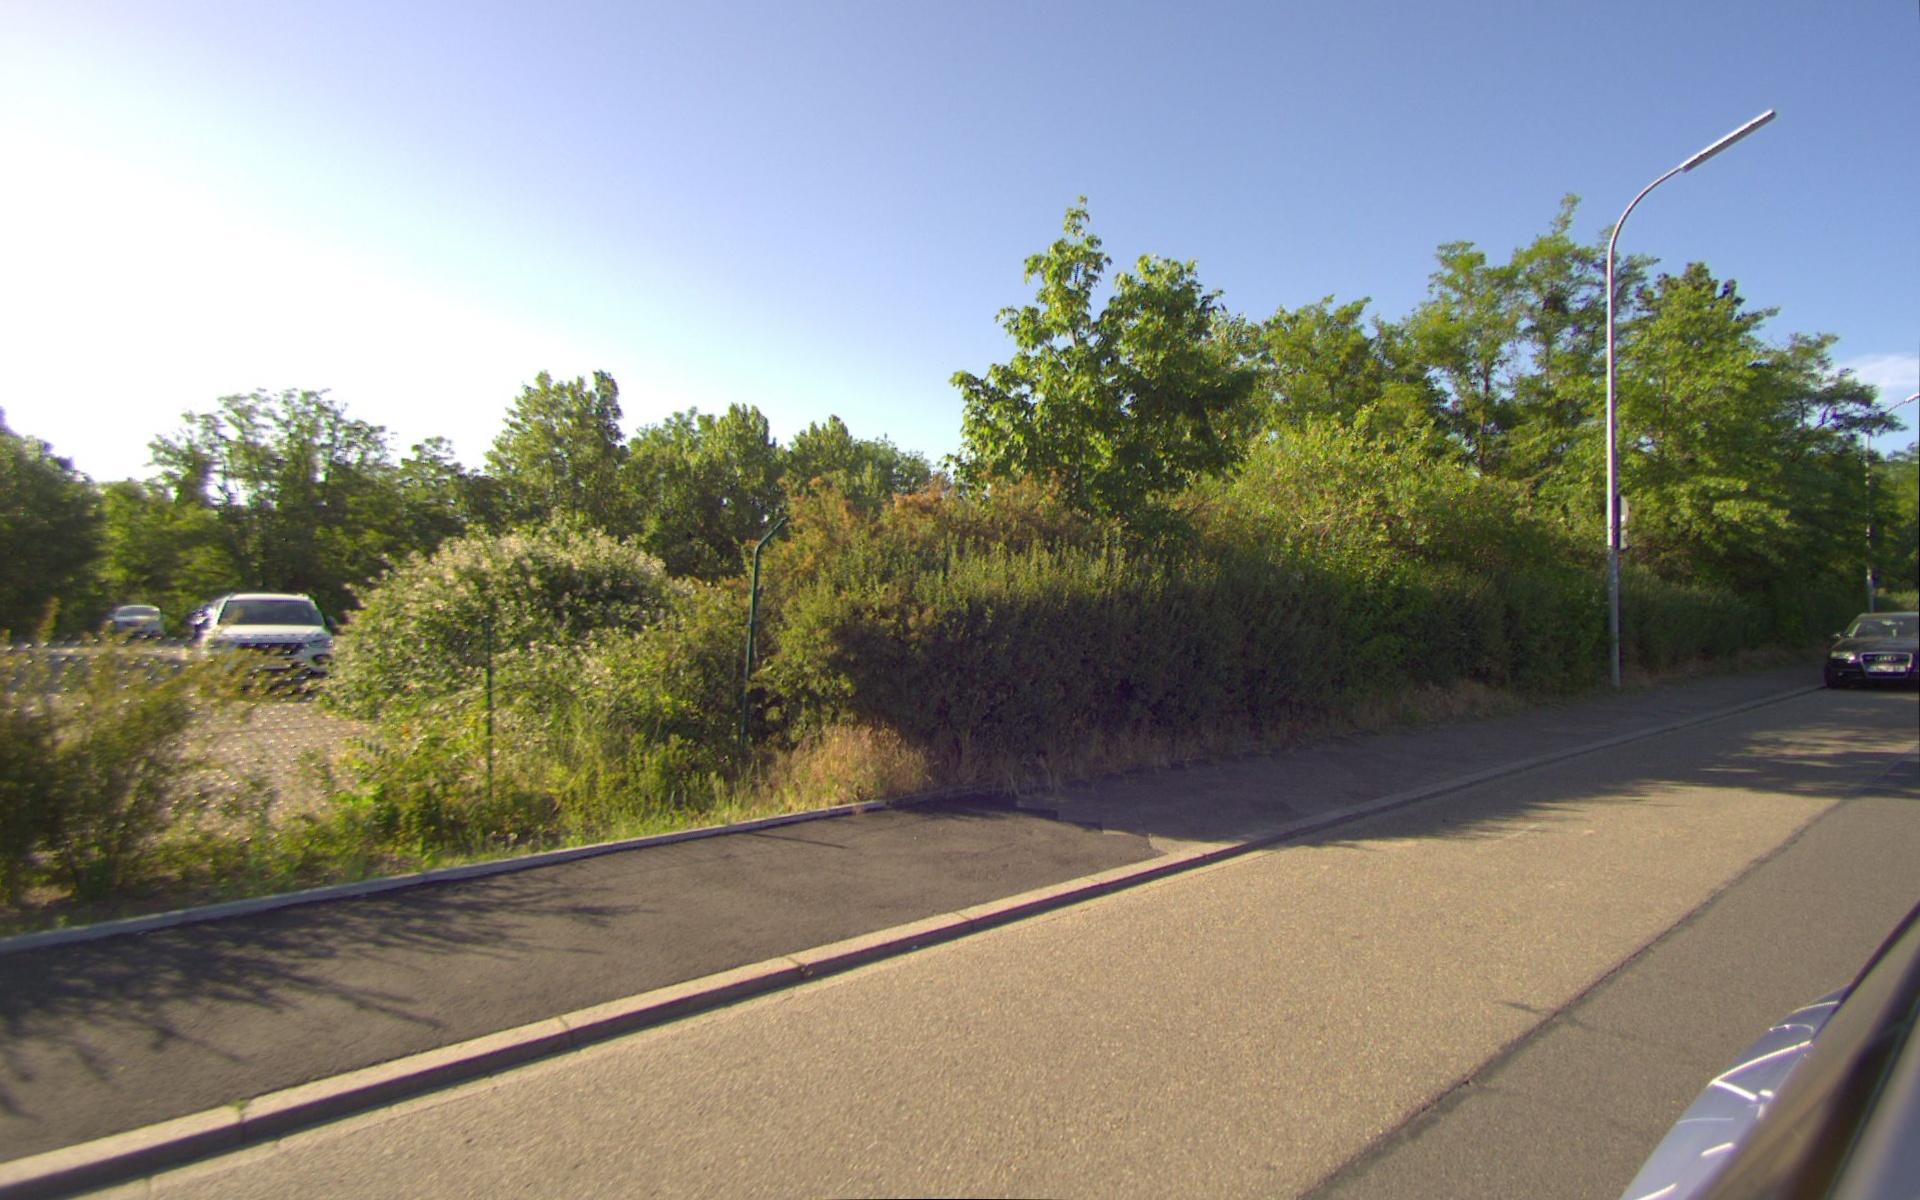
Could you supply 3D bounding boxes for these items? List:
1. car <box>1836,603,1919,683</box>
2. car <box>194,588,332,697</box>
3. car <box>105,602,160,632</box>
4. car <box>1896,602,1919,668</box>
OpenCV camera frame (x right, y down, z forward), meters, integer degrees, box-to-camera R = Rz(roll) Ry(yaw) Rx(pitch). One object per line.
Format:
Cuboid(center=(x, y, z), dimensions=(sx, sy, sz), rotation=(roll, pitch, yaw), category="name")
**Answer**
Cuboid(center=(18.653, 0.775, 19.723), dimensions=(4.576, 1.432, 1.755), rotation=(0, -3, -42), category="car")
Cuboid(center=(-11.786, 0.612, 17.006), dimensions=(1.723, 1.608, 3.916), rotation=(0, 0, -38), category="car")
Cuboid(center=(-33.988, 0.674, 41.648), dimensions=(1.658, 1.101, 3.887), rotation=(0, 1, -38), category="car")
Cuboid(center=(23.620, 0.759, 23.942), dimensions=(4.575, 1.463, 1.657), rotation=(0, -3, -41), category="car")
